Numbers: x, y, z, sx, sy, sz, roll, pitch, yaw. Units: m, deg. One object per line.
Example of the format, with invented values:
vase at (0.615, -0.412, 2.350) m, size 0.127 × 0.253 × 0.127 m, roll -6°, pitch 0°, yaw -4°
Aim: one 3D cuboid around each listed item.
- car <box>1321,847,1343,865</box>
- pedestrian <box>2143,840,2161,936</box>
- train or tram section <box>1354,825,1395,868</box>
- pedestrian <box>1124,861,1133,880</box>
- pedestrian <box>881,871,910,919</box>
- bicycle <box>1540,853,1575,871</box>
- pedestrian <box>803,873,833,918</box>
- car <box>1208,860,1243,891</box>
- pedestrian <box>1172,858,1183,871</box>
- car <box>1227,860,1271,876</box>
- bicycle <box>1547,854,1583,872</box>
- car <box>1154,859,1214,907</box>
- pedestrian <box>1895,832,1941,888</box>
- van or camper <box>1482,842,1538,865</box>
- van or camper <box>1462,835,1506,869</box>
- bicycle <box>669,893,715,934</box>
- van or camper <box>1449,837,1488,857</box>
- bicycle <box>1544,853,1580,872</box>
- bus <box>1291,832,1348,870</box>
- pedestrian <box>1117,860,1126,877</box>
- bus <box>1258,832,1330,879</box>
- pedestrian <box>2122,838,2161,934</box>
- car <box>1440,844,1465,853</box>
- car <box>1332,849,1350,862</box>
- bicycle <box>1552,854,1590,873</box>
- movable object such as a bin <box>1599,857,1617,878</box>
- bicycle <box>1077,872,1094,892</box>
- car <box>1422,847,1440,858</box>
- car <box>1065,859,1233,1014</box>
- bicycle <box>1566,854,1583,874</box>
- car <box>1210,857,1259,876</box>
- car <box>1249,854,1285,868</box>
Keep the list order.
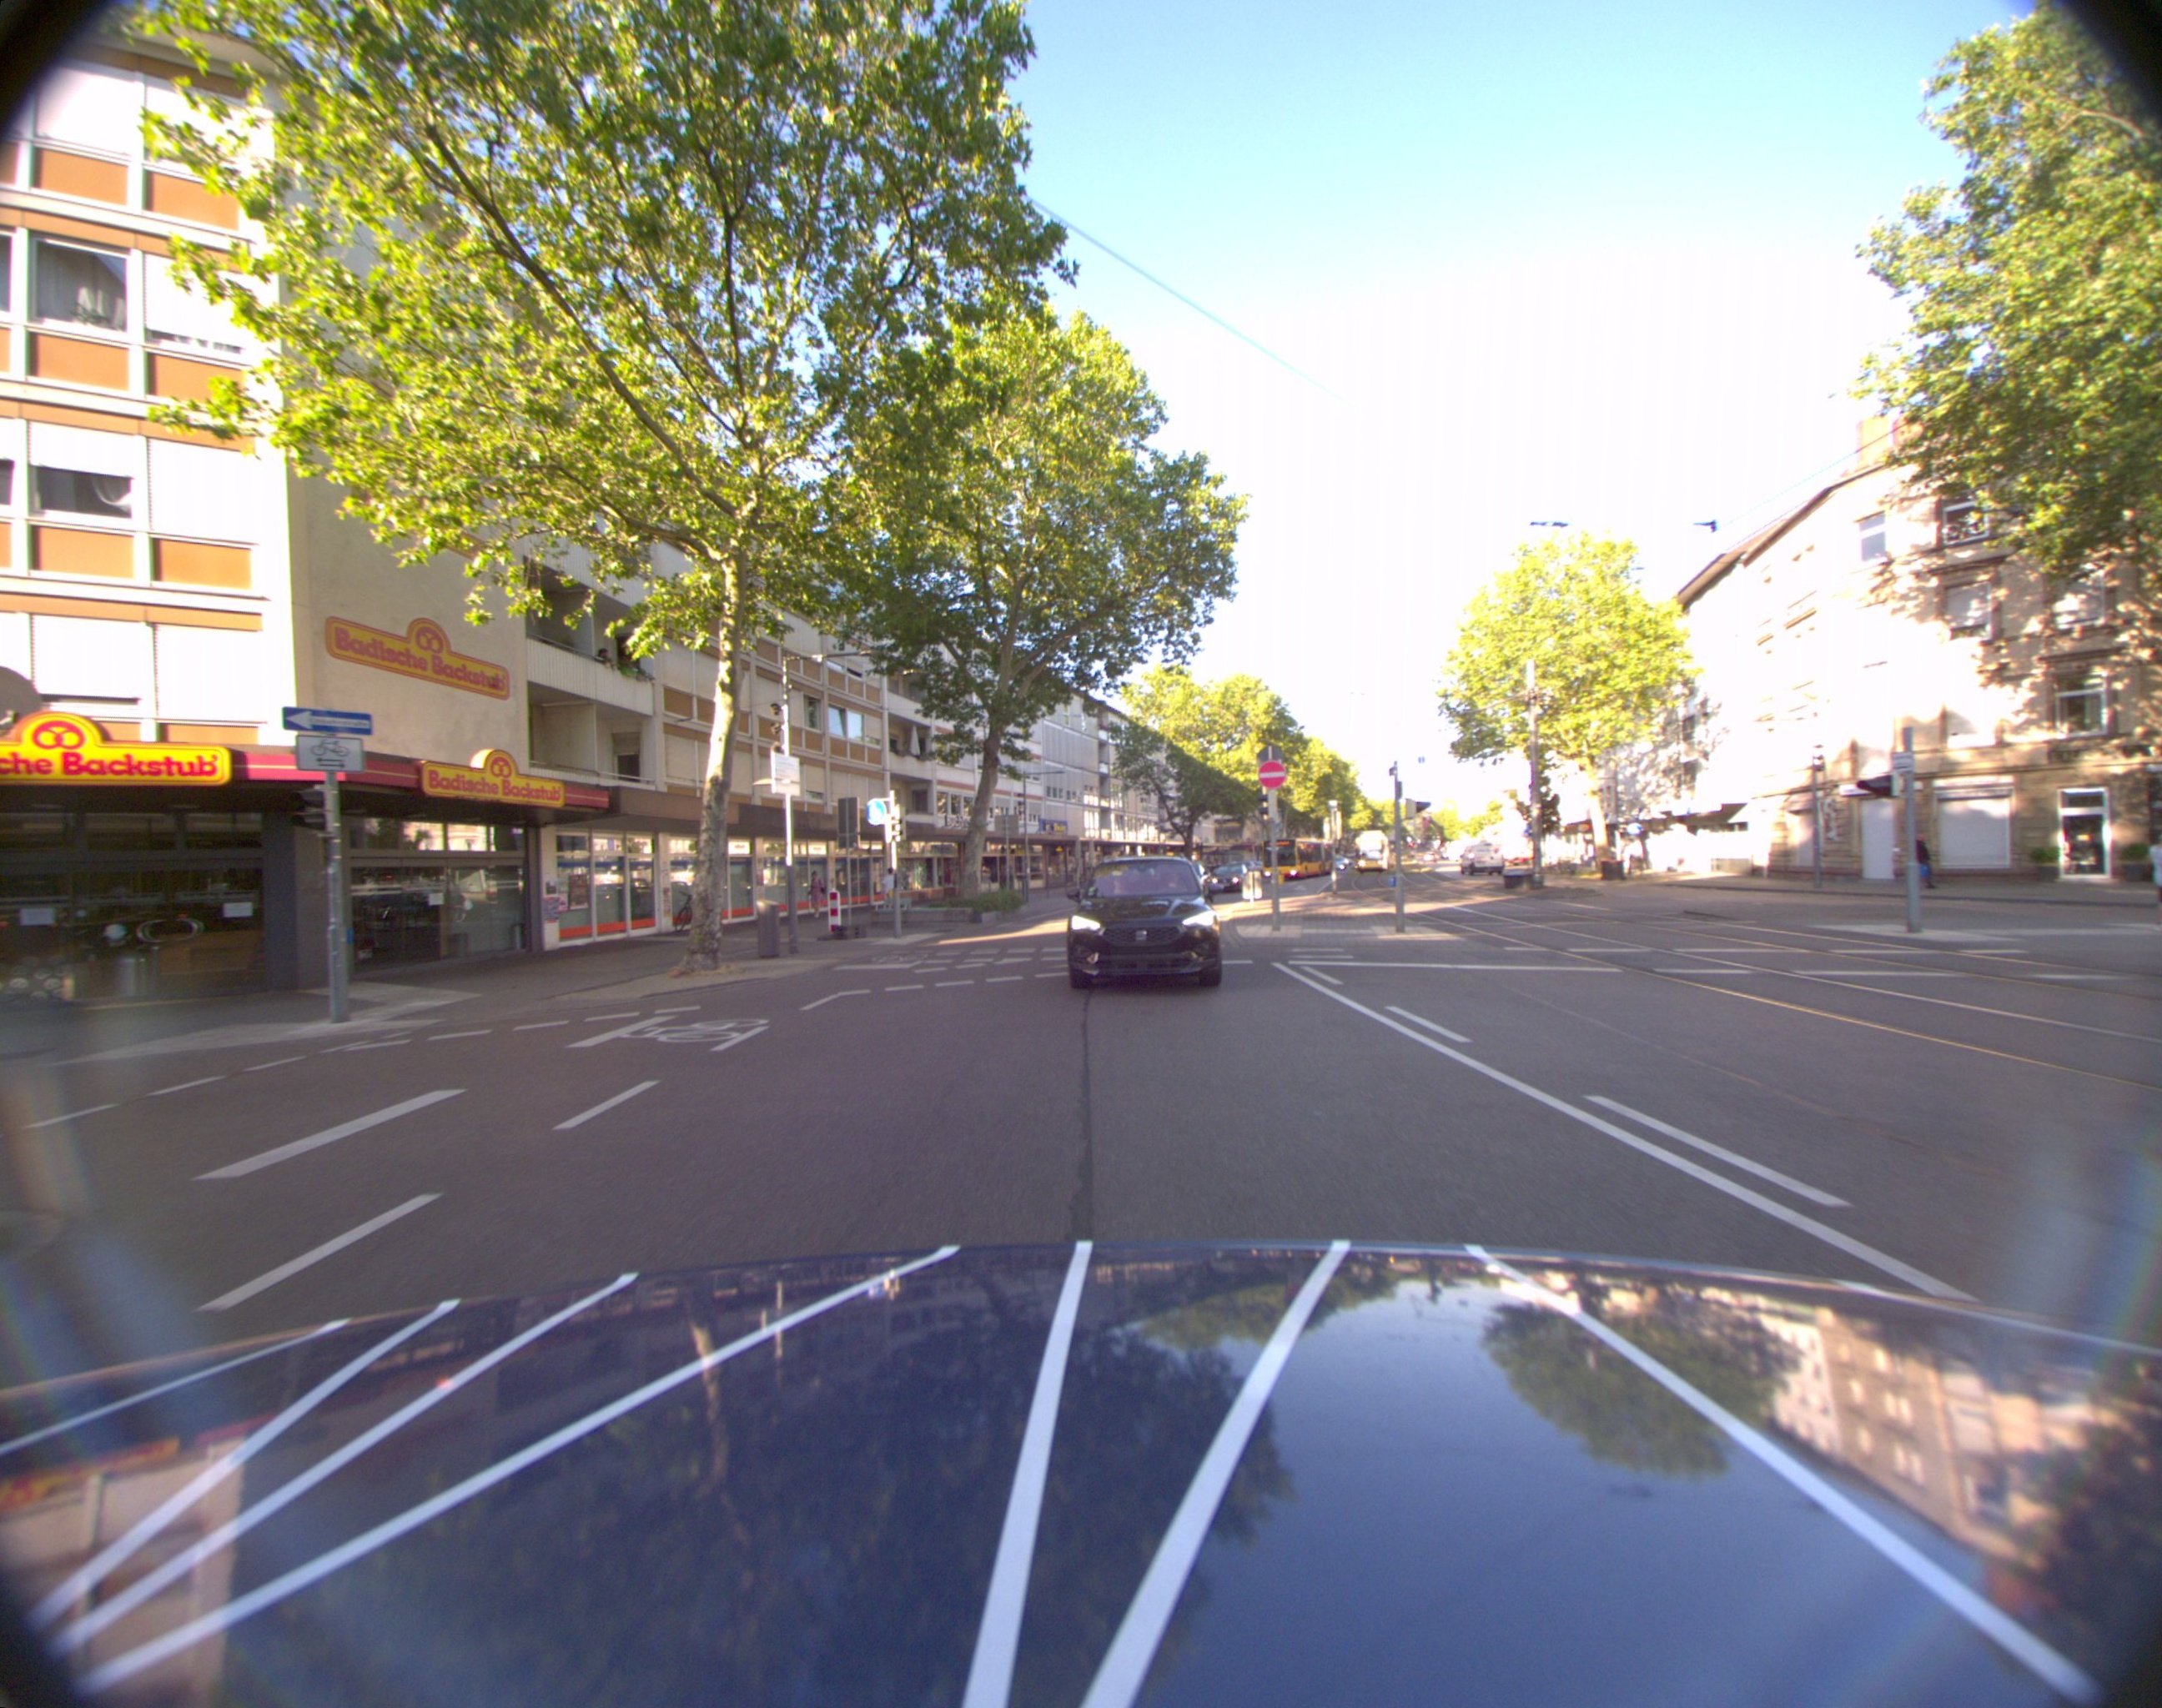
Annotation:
car at (27.800, 0.169, 83.952) m, size 1.995 × 1.892 × 4.006 m, roll -2°, pitch 0°, yaw 22°
pedestrian at (16.940, 0.521, 11.701) m, size 0.409 × 1.495 × 0.517 m, roll -2°, pitch 0°, yaw -7°
train or tram section at (26.182, -0.660, 67.388) m, size 2.634 × 3.429 × 11.148 m, roll -3°, pitch -1°, yaw 24°
pedestrian at (3.986, 1.344, 63.561) m, size 0.537 × 1.582 × 0.688 m, roll 1°, pitch 1°, yaw 22°
pedestrian at (-6.707, 1.455, 27.491) m, size 0.837 × 1.702 × 0.794 m, roll 0°, pitch 0°, yaw 3°
bicycle at (32.551, 0.553, 51.886) m, size 1.896 × 1.117 × 0.535 m, roll -3°, pitch 0°, yaw 20°
pedestrian at (-9.279, 1.445, 26.817) m, size 0.640 × 1.543 × 0.808 m, roll -1°, pitch 0°, yaw 14°
car at (7.701, 1.110, 40.196) m, size 1.657 × 1.477 × 4.165 m, roll -2°, pitch 0°, yaw 12°
pedestrian at (10.181, 1.116, 80.159) m, size 0.749 × 1.354 × 0.964 m, roll -2°, pitch 0°, yaw 27°
car at (16.756, 1.379, 75.713) m, size 4.004 × 1.428 × 1.657 m, roll -2°, pitch 1°, yaw -21°
bicycle at (31.813, 0.580, 49.963) m, size 1.896 × 1.117 × 0.653 m, roll -3°, pitch 0°, yaw 20°
car at (3.900, 1.020, 28.282) m, size 1.657 × 1.571 × 4.005 m, roll -2°, pitch 0°, yaw 15°
pedestrian at (27.469, 0.203, 24.958) m, size 0.619 × 1.777 × 0.972 m, roll -4°, pitch -1°, yaw 27°
van or camper at (41.842, -0.045, 74.085) m, size 4.818 × 1.886 × 1.949 m, roll -3°, pitch -1°, yaw -20°
van or camper at (28.248, -0.090, 53.399) m, size 2.169 × 2.305 × 5.112 m, roll 0°, pitch -1°, yaw 21°
bicycle at (-11.316, 1.708, 22.135) m, size 0.438 × 1.086 × 1.463 m, roll 0°, pitch 0°, yaw 8°
van or camper at (59.462, -1.027, 116.425) m, size 6.407 × 2.651 × 1.996 m, roll -3°, pitch -1°, yaw -30°
bicycle at (32.104, 0.568, 50.712) m, size 1.896 × 1.117 × 0.535 m, roll -3°, pitch 0°, yaw 20°
bus at (21.804, -0.409, 68.883) m, size 2.867 × 2.961 × 12.259 m, roll -4°, pitch 0°, yaw 26°
pedestrian at (3.424, 1.182, 63.735) m, size 0.537 × 1.392 × 0.688 m, roll 1°, pitch 1°, yaw 22°
bus at (16.445, -0.015, 57.877) m, size 2.867 × 2.961 × 12.259 m, roll -4°, pitch 0°, yaw 26°
pedestrian at (17.278, 0.502, 12.120) m, size 0.522 × 1.495 × 0.593 m, roll -2°, pitch 0°, yaw -7°
car at (72.627, -1.011, 148.707) m, size 3.913 × 1.481 × 1.770 m, roll -4°, pitch -1°, yaw 0°
car at (35.078, 0.141, 102.355) m, size 1.995 × 1.630 × 4.006 m, roll -2°, pitch 0°, yaw 22°
bicycle at (31.199, 0.597, 48.358) m, size 1.896 × 1.117 × 0.653 m, roll -3°, pitch 0°, yaw 20°
movable object such as a bin at (27.838, 0.728, 40.118) m, size 0.648 × 1.087 × 0.544 m, roll -1°, pitch 0°, yaw -28°
bicycle at (0.264, 1.597, 43.013) m, size 0.511 × 1.064 × 1.664 m, roll 0°, pitch 0°, yaw 18°
car at (49.787, -0.262, 108.169) m, size 1.888 × 1.464 × 4.212 m, roll -2°, pitch 0°, yaw 18°
car at (0.770, 0.919, 10.380) m, size 1.808 × 1.637 × 4.000 m, roll -2°, pitch 0°, yaw 1°
bicycle at (30.003, 0.610, 46.192) m, size 0.509 × 1.117 × 1.914 m, roll -3°, pitch -1°, yaw 24°
car at (13.971, 1.107, 69.182) m, size 4.005 × 1.597 × 1.806 m, roll -2°, pitch 0°, yaw -25°
car at (22.451, 0.799, 91.819) m, size 4.003 × 1.555 × 1.657 m, roll -1°, pitch 1°, yaw -18°
